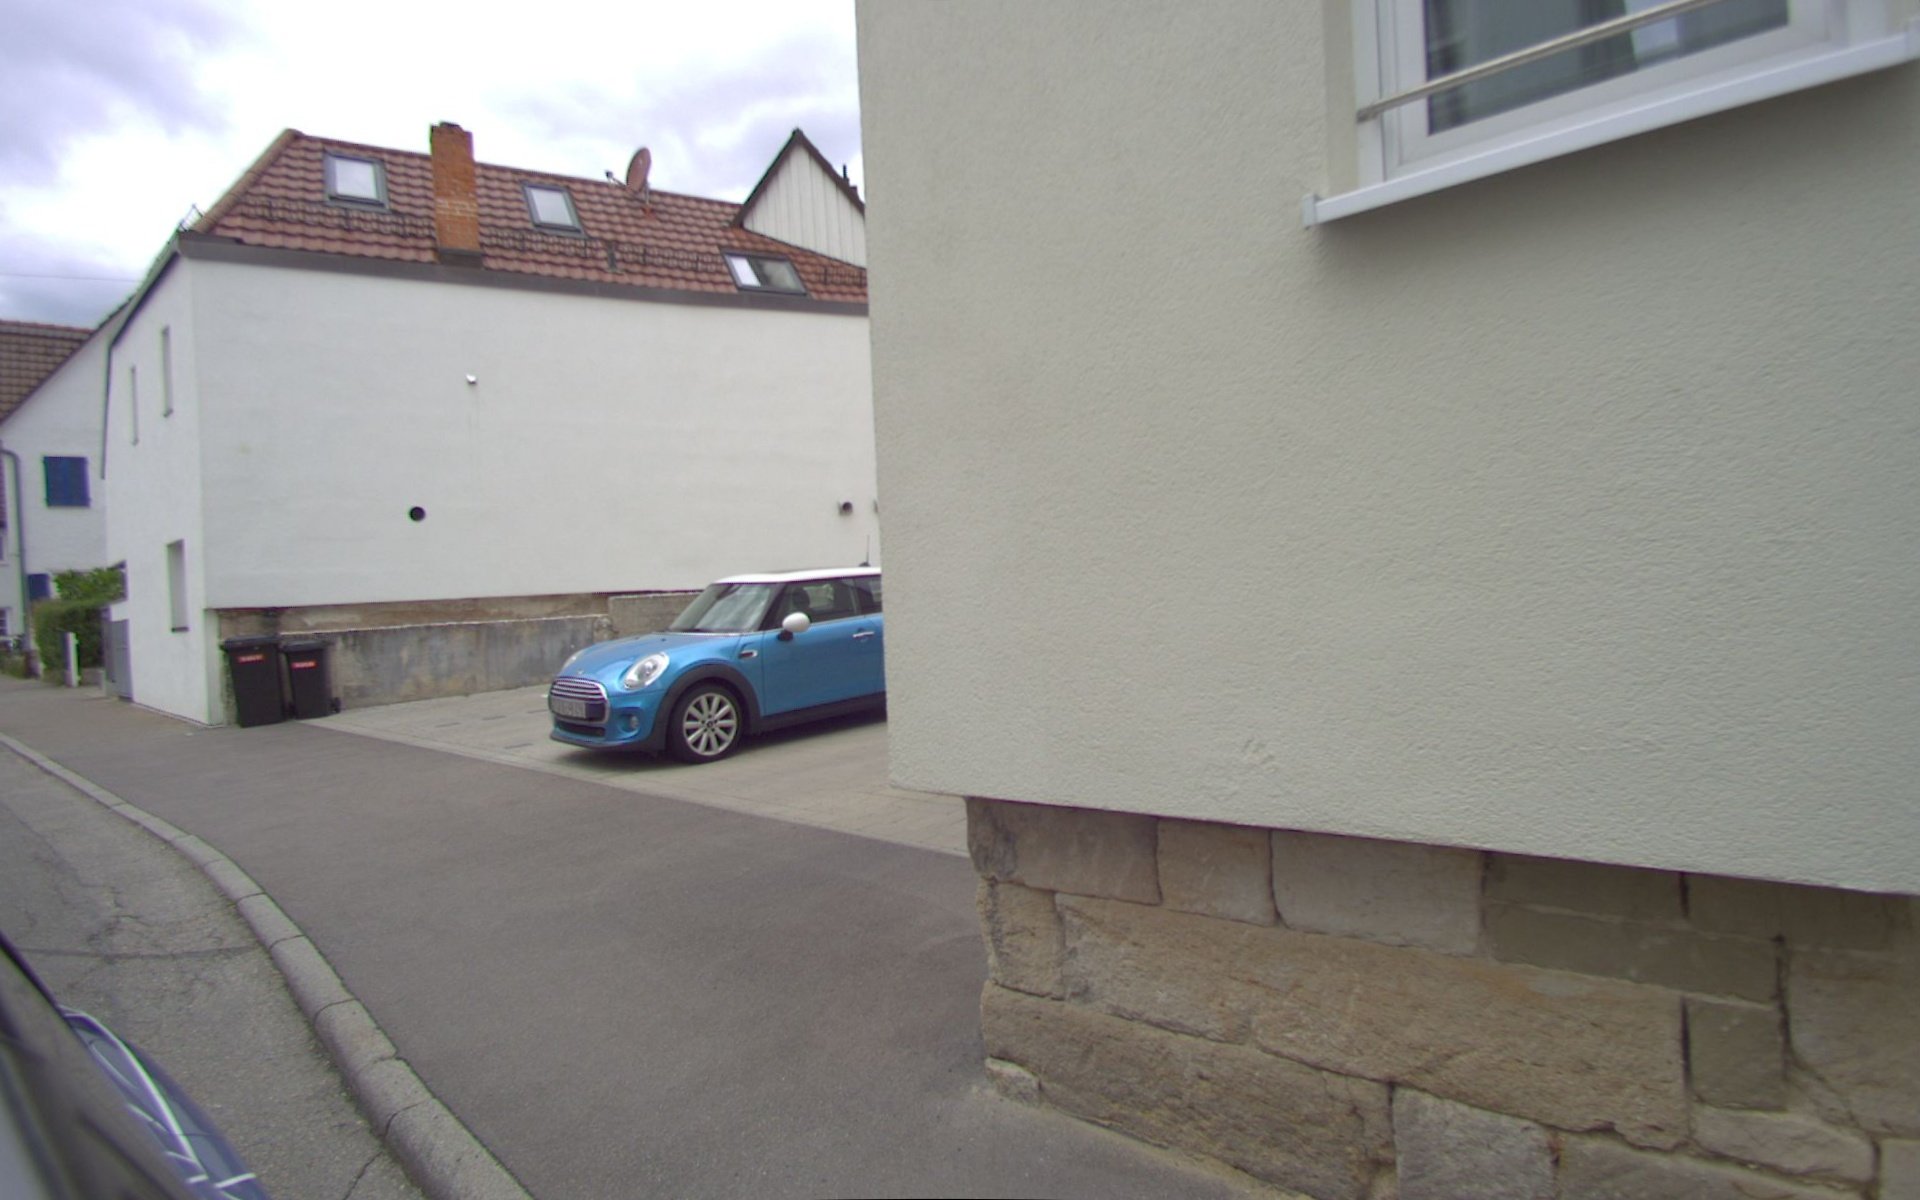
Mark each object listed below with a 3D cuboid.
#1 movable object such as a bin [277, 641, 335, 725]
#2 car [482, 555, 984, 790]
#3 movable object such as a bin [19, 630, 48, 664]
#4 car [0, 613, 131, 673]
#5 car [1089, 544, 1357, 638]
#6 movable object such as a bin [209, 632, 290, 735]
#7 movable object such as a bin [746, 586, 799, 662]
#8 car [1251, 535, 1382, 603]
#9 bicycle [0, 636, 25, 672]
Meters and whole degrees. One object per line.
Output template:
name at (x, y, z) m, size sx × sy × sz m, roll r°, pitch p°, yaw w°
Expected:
movable object such as a bin at (-7.834, 0.981, 12.137) m, size 0.443 × 0.911 × 0.573 m, roll -6°, pitch 3°, yaw -27°
car at (-1.847, 0.429, 8.885) m, size 3.689 × 1.421 × 2.122 m, roll -6°, pitch 5°, yaw -45°
movable object such as a bin at (-30.001, 1.520, 32.775) m, size 0.549 × 1.007 × 0.623 m, roll -10°, pitch 4°, yaw -39°
car at (-32.016, 1.523, 35.190) m, size 1.974 × 1.510 × 4.501 m, roll 1°, pitch 7°, yaw 35°
car at (4.383, -0.259, 17.636) m, size 1.766 × 1.416 × 4.590 m, roll -2°, pitch 3°, yaw -31°
movable object such as a bin at (-8.300, 0.957, 11.855) m, size 0.606 × 1.083 × 0.755 m, roll -5°, pitch 3°, yaw -27°
movable object such as a bin at (-2.800, 0.341, 15.065) m, size 0.546 × 1.083 × 0.728 m, roll -4°, pitch 2°, yaw -27°
car at (9.559, -0.833, 27.136) m, size 2.893 × 1.639 × 1.720 m, roll -2°, pitch 3°, yaw 37°
bicycle at (-29.535, 1.673, 31.363) m, size 0.436 × 1.046 × 2.097 m, roll -7°, pitch 3°, yaw -35°
